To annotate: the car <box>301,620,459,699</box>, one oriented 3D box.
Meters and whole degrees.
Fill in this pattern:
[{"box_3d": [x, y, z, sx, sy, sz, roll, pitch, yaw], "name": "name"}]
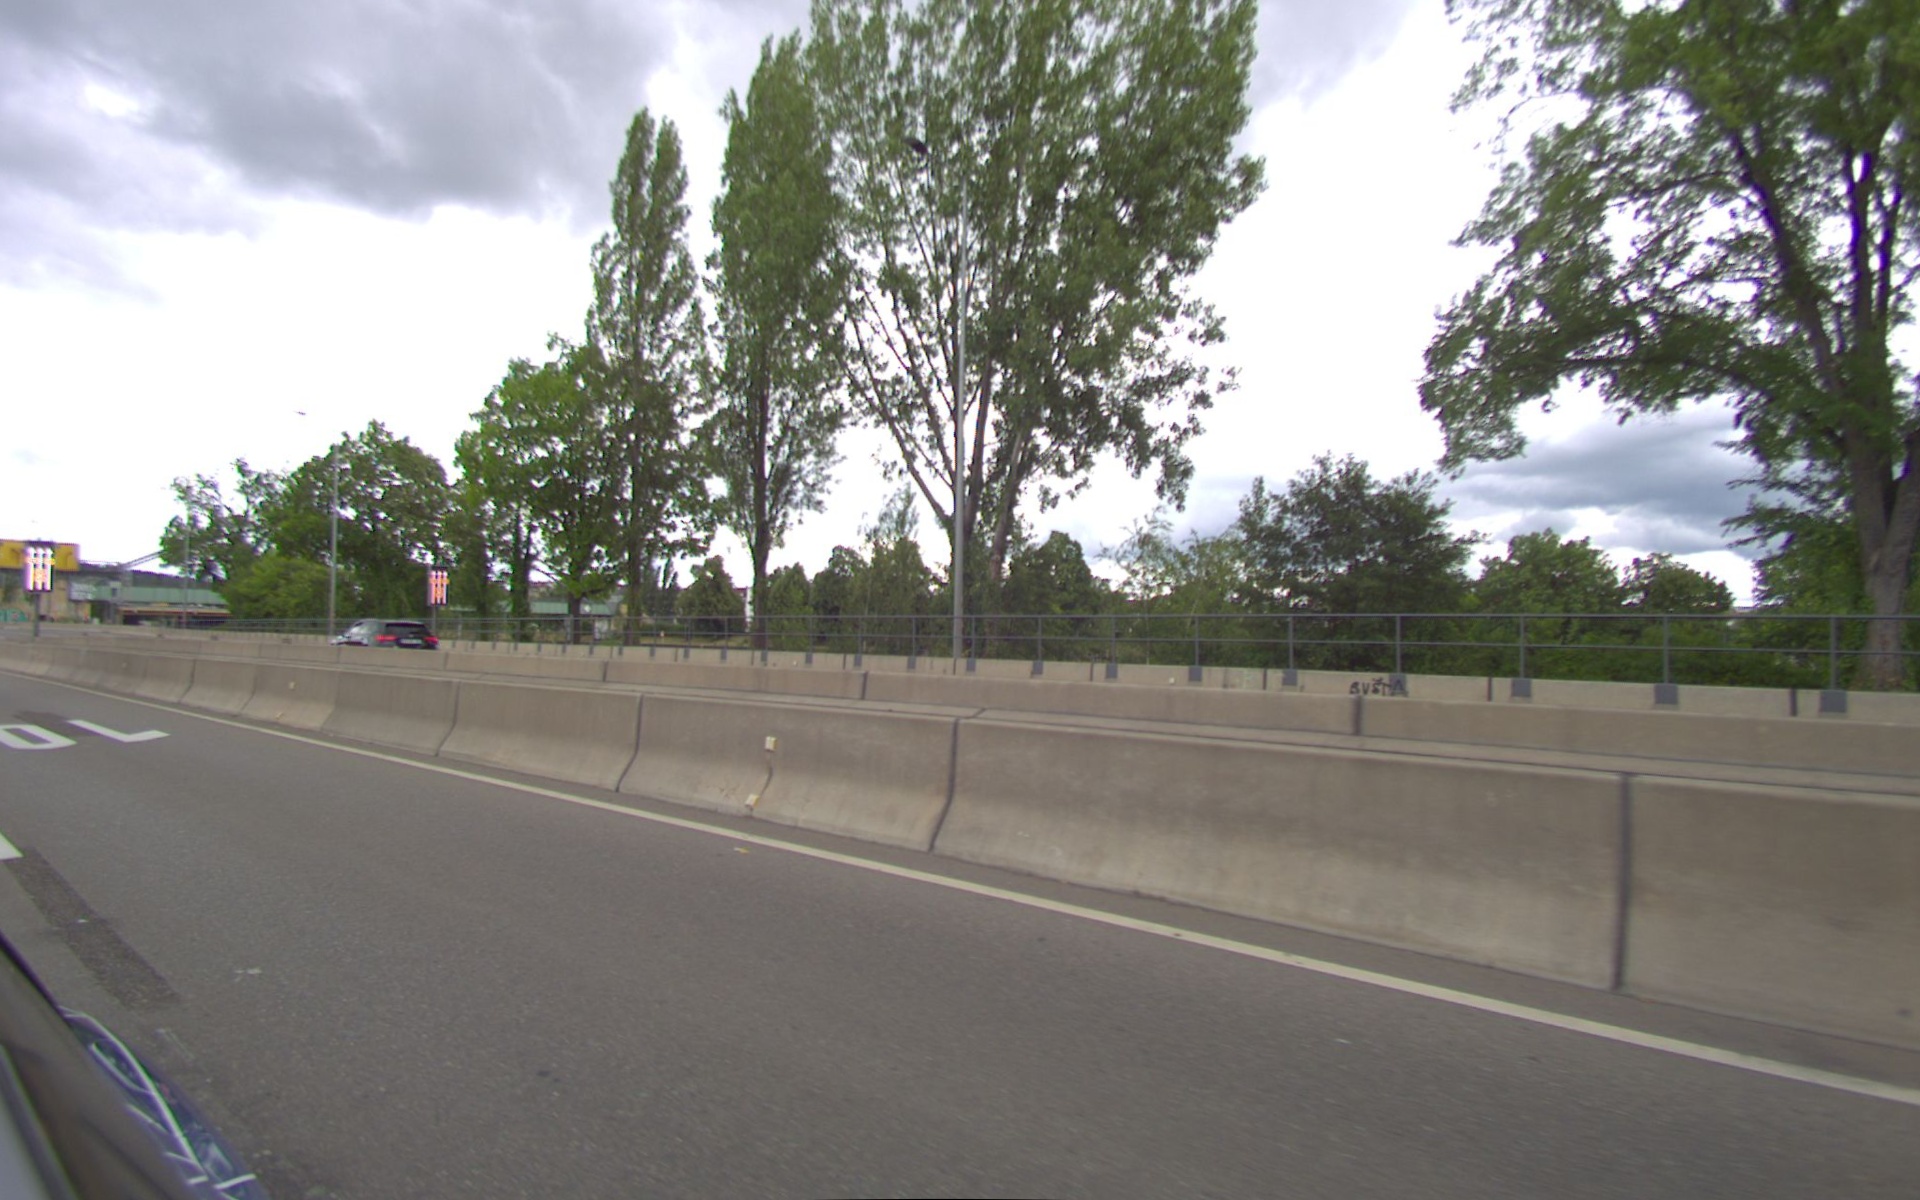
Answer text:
[{"box_3d": [-16.246, 1.551, 28.236, 5.000, 1.940, 2.305, -1, 0, 41], "name": "car"}]
